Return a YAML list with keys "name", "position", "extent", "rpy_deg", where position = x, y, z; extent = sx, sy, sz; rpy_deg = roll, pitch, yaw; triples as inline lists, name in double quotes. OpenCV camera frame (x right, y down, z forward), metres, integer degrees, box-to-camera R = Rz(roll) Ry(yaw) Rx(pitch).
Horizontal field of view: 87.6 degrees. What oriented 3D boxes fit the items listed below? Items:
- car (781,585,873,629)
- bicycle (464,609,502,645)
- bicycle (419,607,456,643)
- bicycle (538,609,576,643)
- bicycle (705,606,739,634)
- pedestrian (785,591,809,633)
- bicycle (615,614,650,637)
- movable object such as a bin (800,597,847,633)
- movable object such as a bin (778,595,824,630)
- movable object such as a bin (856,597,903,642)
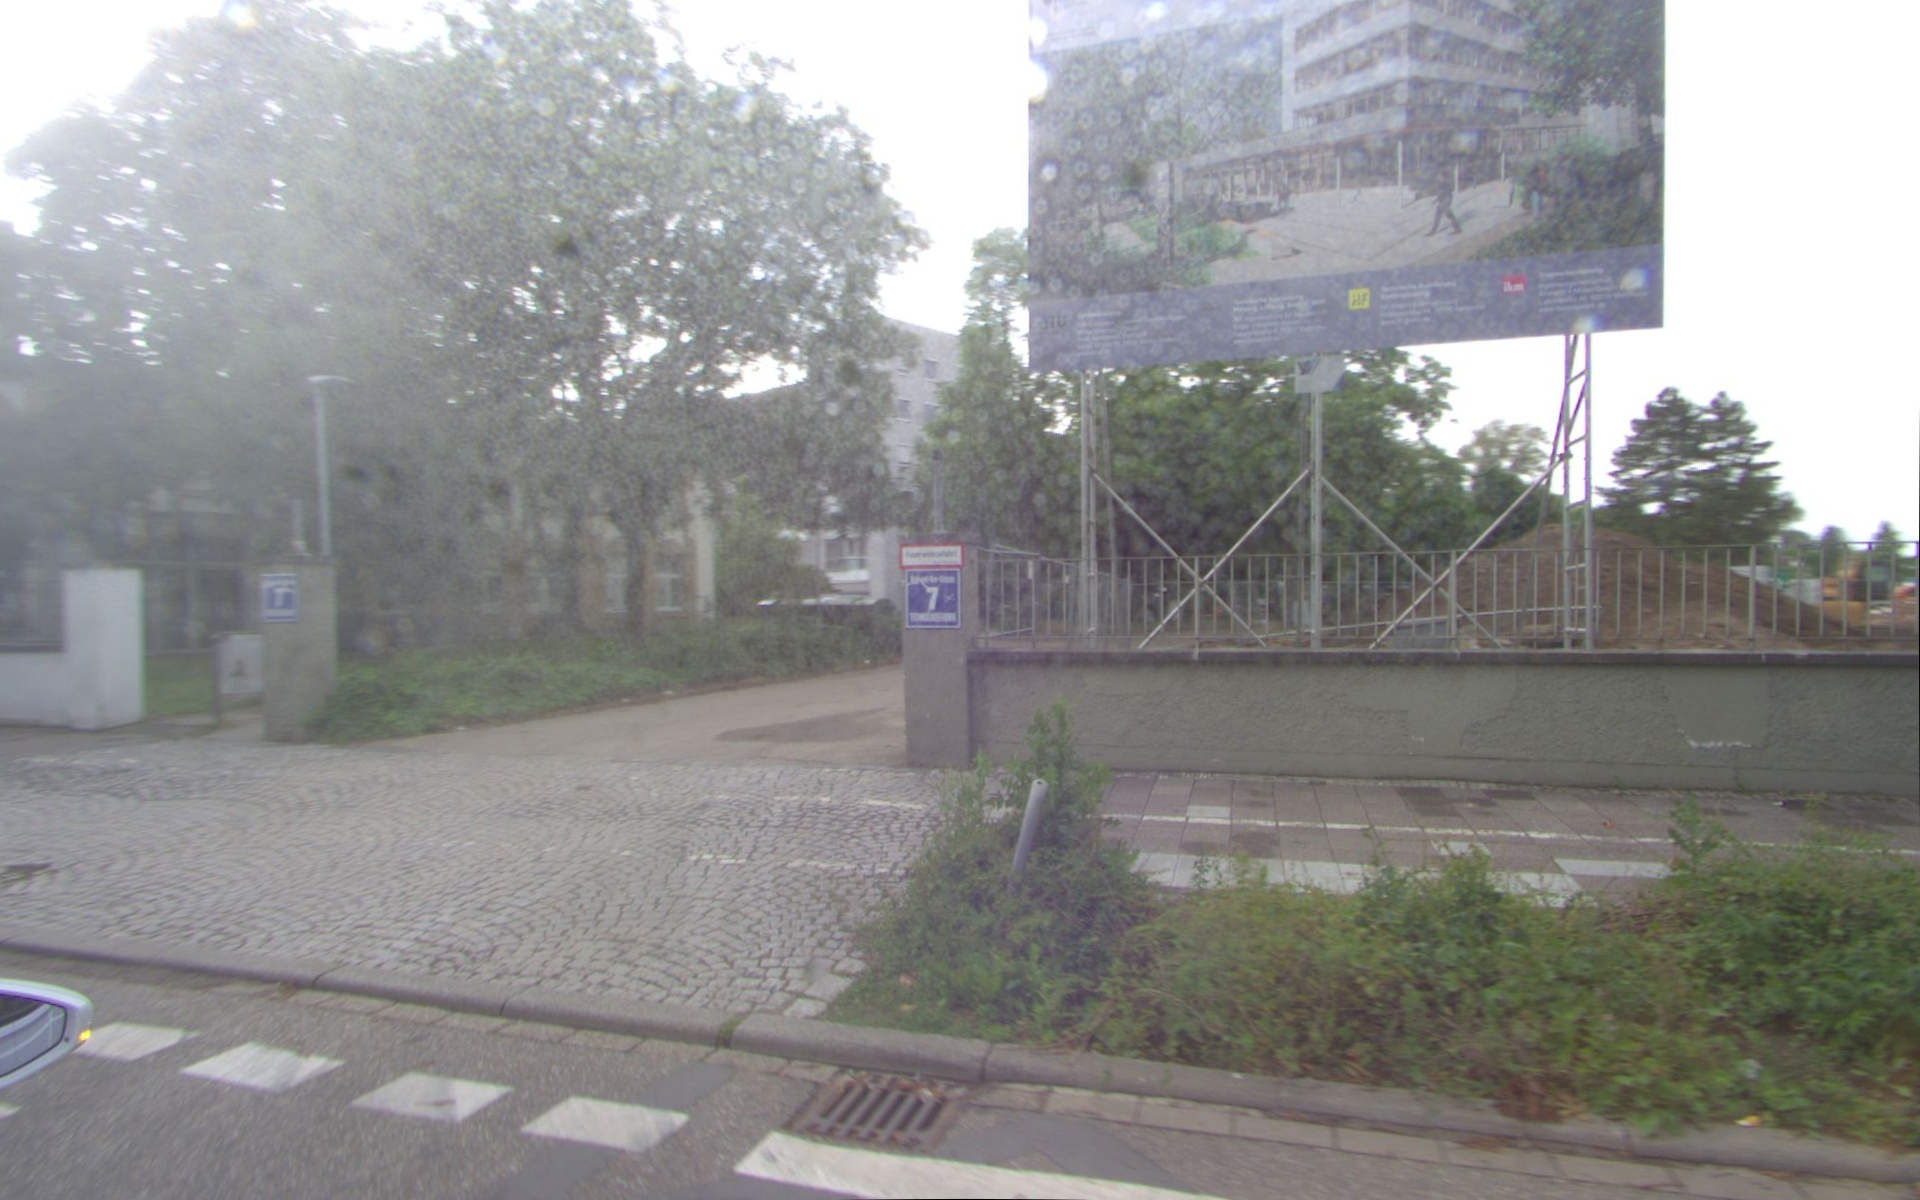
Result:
- name: "car"
  position: [-6.357, 0.358, 48.365]
  extent: [1.832, 2.040, 4.318]
  rpy_deg: [-1, -1, 40]
- name: "bicycle"
  position: [-15.912, 0.876, 33.381]
  extent: [0.612, 1.134, 2.203]
  rpy_deg: [-1, 1, -39]
- name: "bicycle"
  position: [-16.967, 0.783, 32.497]
  extent: [0.612, 1.134, 2.203]
  rpy_deg: [-1, 1, -39]
- name: "bicycle"
  position: [-14.197, 0.892, 35.229]
  extent: [0.612, 1.134, 2.203]
  rpy_deg: [-1, 1, -39]
- name: "bicycle"
  position: [-9.510, 0.781, 39.933]
  extent: [1.808, 1.079, 0.392]
  rpy_deg: [0, 1, 43]
- name: "pedestrian"
  position: [-7.267, 0.531, 44.531]
  extent: [0.690, 1.832, 0.750]
  rpy_deg: [-2, 0, 40]
- name: "bicycle"
  position: [-12.218, 0.945, 37.339]
  extent: [0.612, 0.824, 1.928]
  rpy_deg: [-1, 0, -39]
- name: "movable object such as a bin"
  position: [-4.974, 0.541, 36.466]
  extent: [1.337, 1.282, 1.048]
  rpy_deg: [0, 1, 39]
- name: "movable object such as a bin"
  position: [-5.960, 0.462, 37.567]
  extent: [1.336, 1.282, 1.049]
  rpy_deg: [0, 1, 36]
- name: "movable object such as a bin"
  position: [-2.780, 0.638, 34.322]
  extent: [1.043, 1.470, 1.344]
  rpy_deg: [0, 2, -37]
